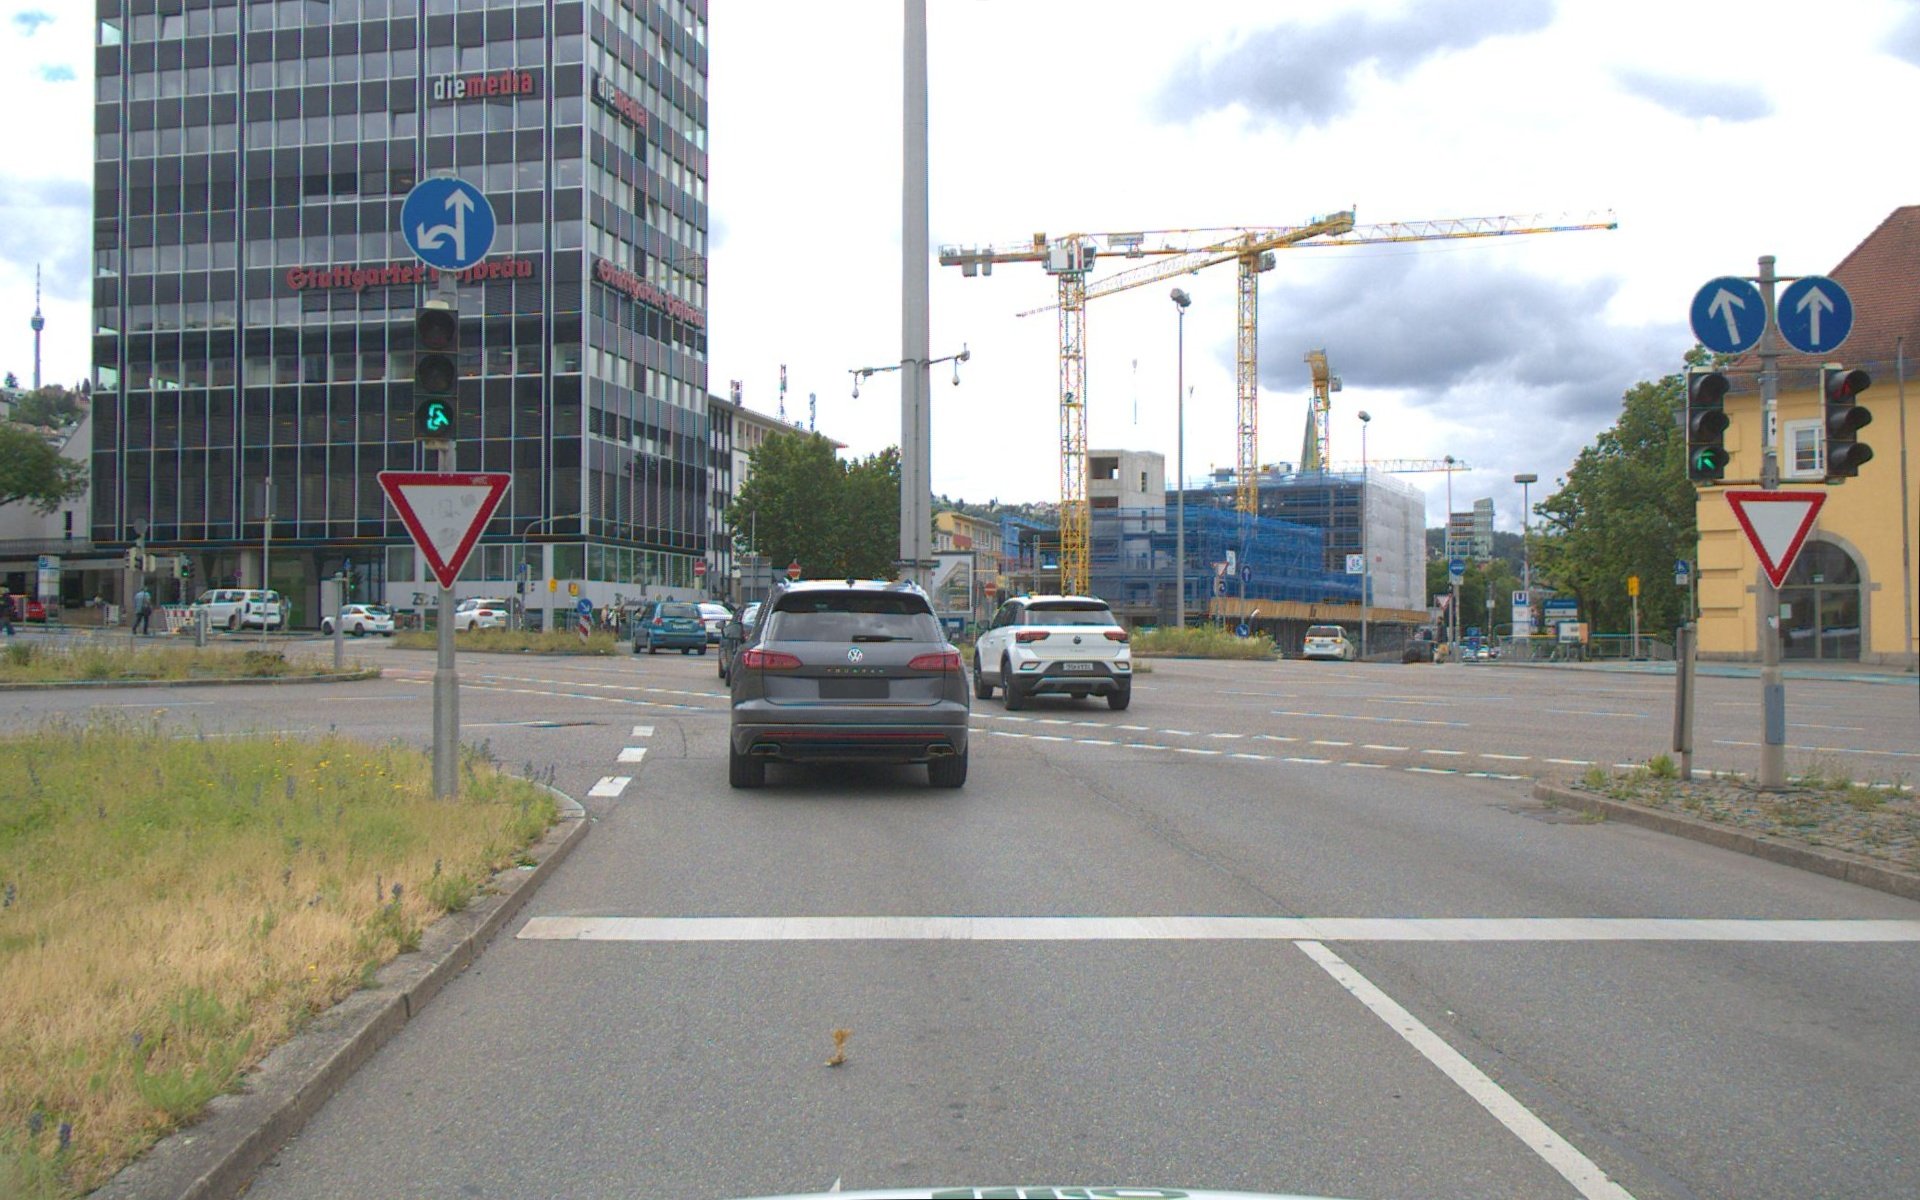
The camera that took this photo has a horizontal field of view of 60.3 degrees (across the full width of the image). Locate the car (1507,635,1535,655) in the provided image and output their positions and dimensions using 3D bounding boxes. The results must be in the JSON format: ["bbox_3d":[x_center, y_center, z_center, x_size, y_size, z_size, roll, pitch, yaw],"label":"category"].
[{"bbox_3d":[61.741,4.910,182.039,1.951,2.049,4.002,1,0,4],"label":"car"}]

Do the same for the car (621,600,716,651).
[{"bbox_3d":[-8.413,0.702,47.516,1.769,1.380,4.039,1,0,-24],"label":"car"}]

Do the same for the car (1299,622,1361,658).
[{"bbox_3d":[16.204,1.734,72.319,1.767,1.529,3.977,1,-1,26],"label":"car"}]

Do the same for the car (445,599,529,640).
[{"bbox_3d":[-18.595,0.733,64.911,1.803,1.522,3.851,0,1,-39],"label":"car"}]

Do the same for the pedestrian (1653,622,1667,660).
[{"bbox_3d":[30.650,1.792,72.408,0.531,1.625,0.742,1,0,24],"label":"pedestrian"}]

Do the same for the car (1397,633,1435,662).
[{"bbox_3d":[26.233,2.716,95.082,1.765,1.529,3.982,1,0,20],"label":"car"}]

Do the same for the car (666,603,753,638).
[{"bbox_3d":[-8.661,0.695,57.018,1.652,1.159,4.030,1,0,-29],"label":"car"}]

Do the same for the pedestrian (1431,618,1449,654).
[{"bbox_3d":[17.814,1.324,61.385,0.537,1.304,0.462,1,0,24],"label":"pedestrian"}]

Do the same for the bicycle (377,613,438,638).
[{"bbox_3d":[-27.991,1.294,83.807,3.245,1.188,1.246,1,0,36],"label":"bicycle"}]

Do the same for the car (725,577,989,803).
[{"bbox_3d":[-1.042,0.646,14.424,1.897,1.676,3.991,0,1,-10],"label":"car"}]

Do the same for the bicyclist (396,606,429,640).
[{"bbox_3d":[-27.654,1.174,83.569,0.898,1.670,1.246,1,0,35],"label":"bicyclist"}]

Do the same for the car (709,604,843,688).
[{"bbox_3d":[-3.325,0.766,29.341,1.763,1.380,4.053,0,0,-15],"label":"car"}]

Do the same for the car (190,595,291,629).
[{"bbox_3d":[-33.839,0.540,77.745,4.514,1.529,2.246,1,1,32],"label":"car"}]

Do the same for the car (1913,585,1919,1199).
[{"bbox_3d":[3.168,0.686,1.693,1.782,1.676,4.378,1,1,-1],"label":"car"}]

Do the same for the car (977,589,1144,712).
[{"bbox_3d":[1.367,0.668,24.050,1.857,1.613,3.797,1,1,-5],"label":"car"}]

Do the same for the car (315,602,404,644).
[{"bbox_3d":[-28.262,1.045,77.891,3.915,1.638,1.896,2,6,32],"label":"car"}]

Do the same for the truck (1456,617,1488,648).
[{"bbox_3d":[43.528,2.709,140.548,2.085,2.496,4.826,1,0,23],"label":"truck"}]

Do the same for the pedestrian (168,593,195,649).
[{"bbox_3d":[-34.115,0.903,72.469,0.948,2.403,1.030,1,0,-31],"label":"pedestrian"}]

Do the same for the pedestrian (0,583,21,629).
[{"bbox_3d":[-34.228,0.210,59.601,0.616,1.621,0.584,1,0,-32],"label":"pedestrian"}]

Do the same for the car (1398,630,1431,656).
[{"bbox_3d":[29.509,2.784,107.414,1.765,1.529,3.982,1,0,20],"label":"car"}]

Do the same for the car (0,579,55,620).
[{"bbox_3d":[-47.615,-0.039,83.843,3.932,2.049,1.986,1,0,44],"label":"car"}]
